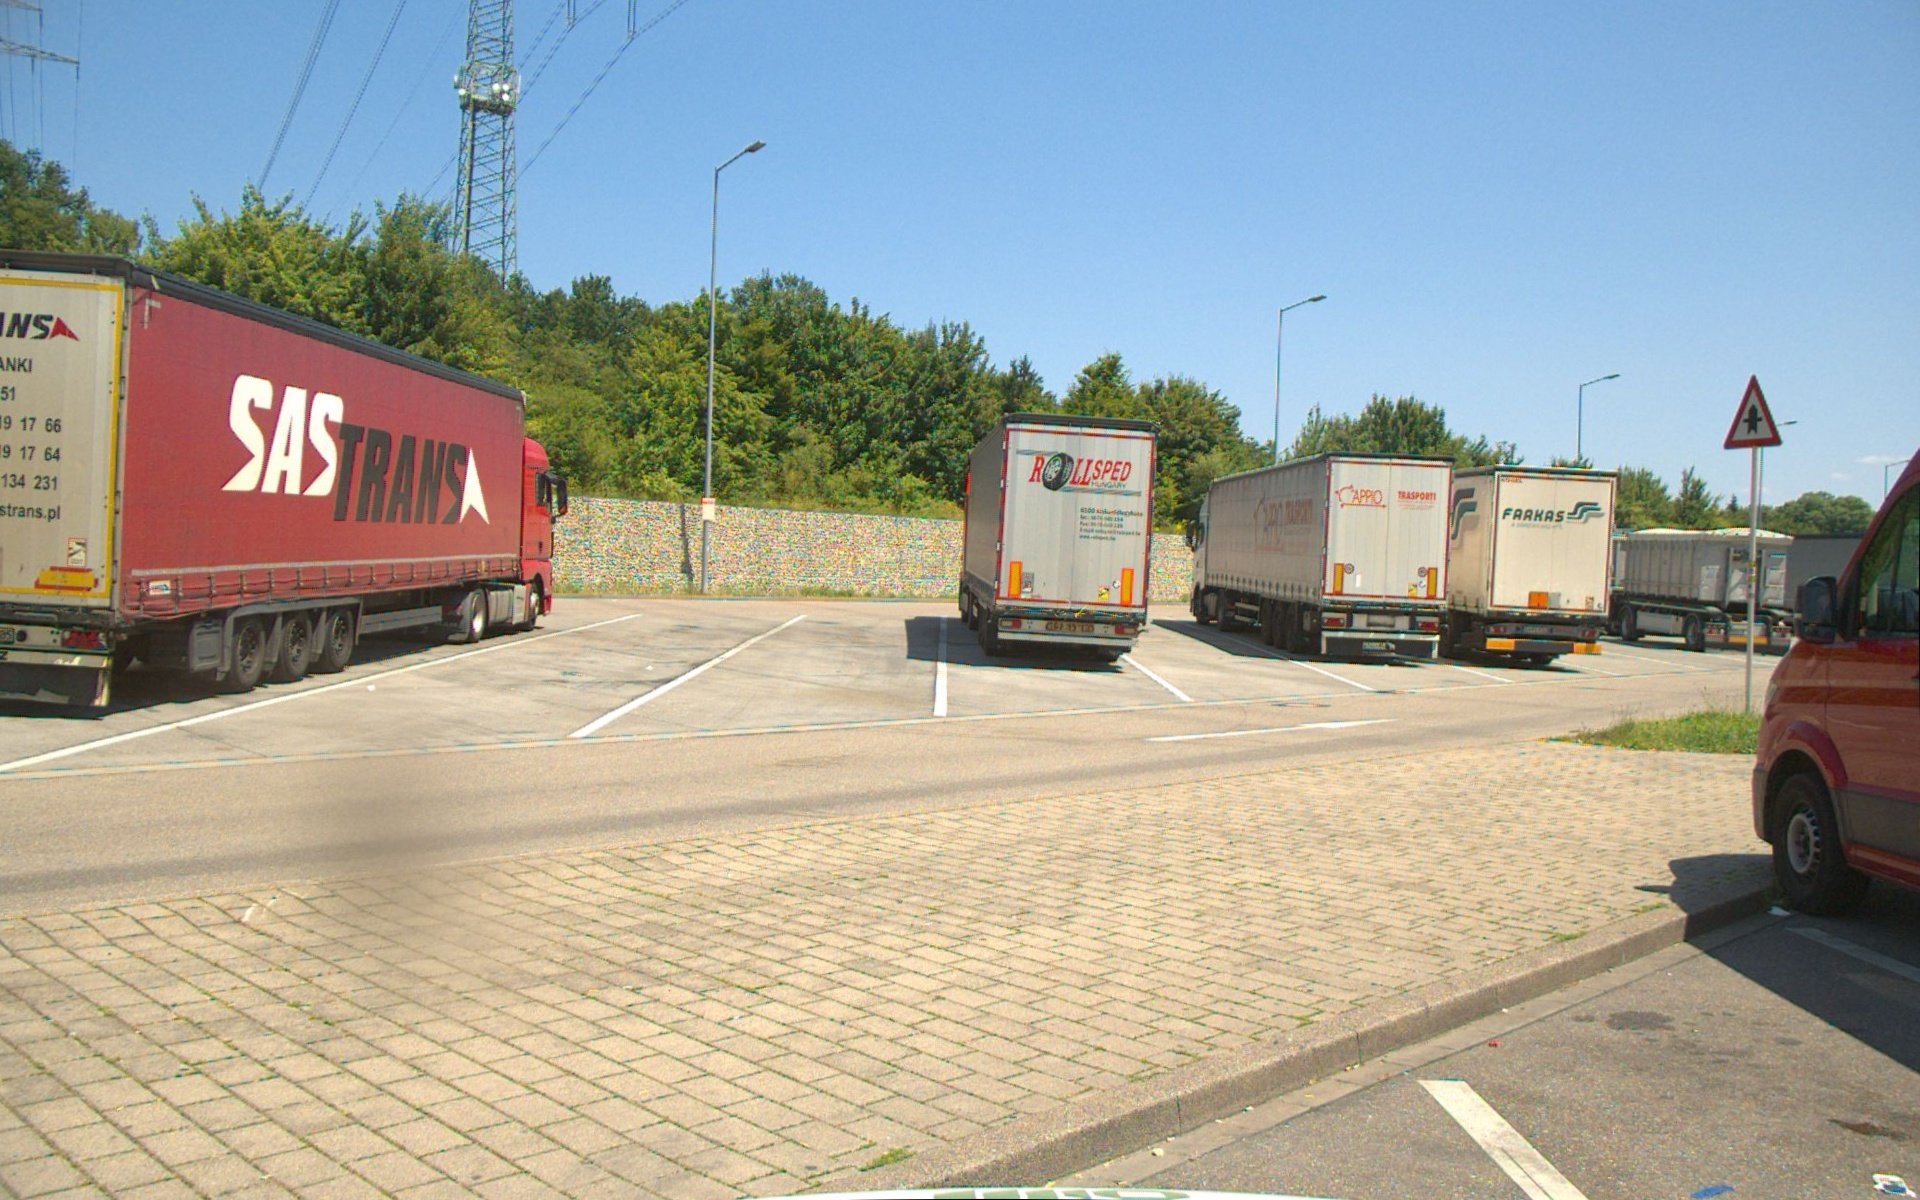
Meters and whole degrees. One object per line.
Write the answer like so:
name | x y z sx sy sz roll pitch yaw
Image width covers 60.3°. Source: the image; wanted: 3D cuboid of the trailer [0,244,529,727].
trailer | -8.695 -1.270 21.250 2.764 4.141 13.763 2 2 -1

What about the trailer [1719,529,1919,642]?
trailer | 34.789 -0.698 65.438 2.800 3.972 13.762 2 2 -1

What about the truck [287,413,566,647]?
truck | -8.803 -1.162 28.065 2.755 3.421 5.974 2 2 -1

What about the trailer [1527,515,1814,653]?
trailer | 21.835 -0.673 52.240 2.800 3.662 13.762 2 2 -1

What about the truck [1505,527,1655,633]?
truck | 21.737 -0.787 58.335 2.808 3.421 5.974 2 2 -1

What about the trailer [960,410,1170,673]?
trailer | 1.673 -1.172 33.146 2.800 4.040 13.761 2 2 -2

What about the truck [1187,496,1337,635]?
truck | 8.125 -0.980 45.261 2.808 3.421 5.974 2 2 -1

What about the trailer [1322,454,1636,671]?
trailer | 11.767 -0.985 39.562 2.800 4.180 13.762 2 2 -1

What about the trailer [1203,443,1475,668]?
trailer | 8.247 -1.097 38.498 2.800 4.180 13.762 2 2 -1

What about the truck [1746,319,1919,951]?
truck | 4.987 0.160 5.514 1.969 2.697 6.457 1 0 3

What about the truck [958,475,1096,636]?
truck | 1.473 -1.089 39.343 2.808 3.421 5.974 2 2 -1

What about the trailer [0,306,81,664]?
trailer | -12.492 -1.259 15.794 2.651 4.173 10.389 2 2 -1
